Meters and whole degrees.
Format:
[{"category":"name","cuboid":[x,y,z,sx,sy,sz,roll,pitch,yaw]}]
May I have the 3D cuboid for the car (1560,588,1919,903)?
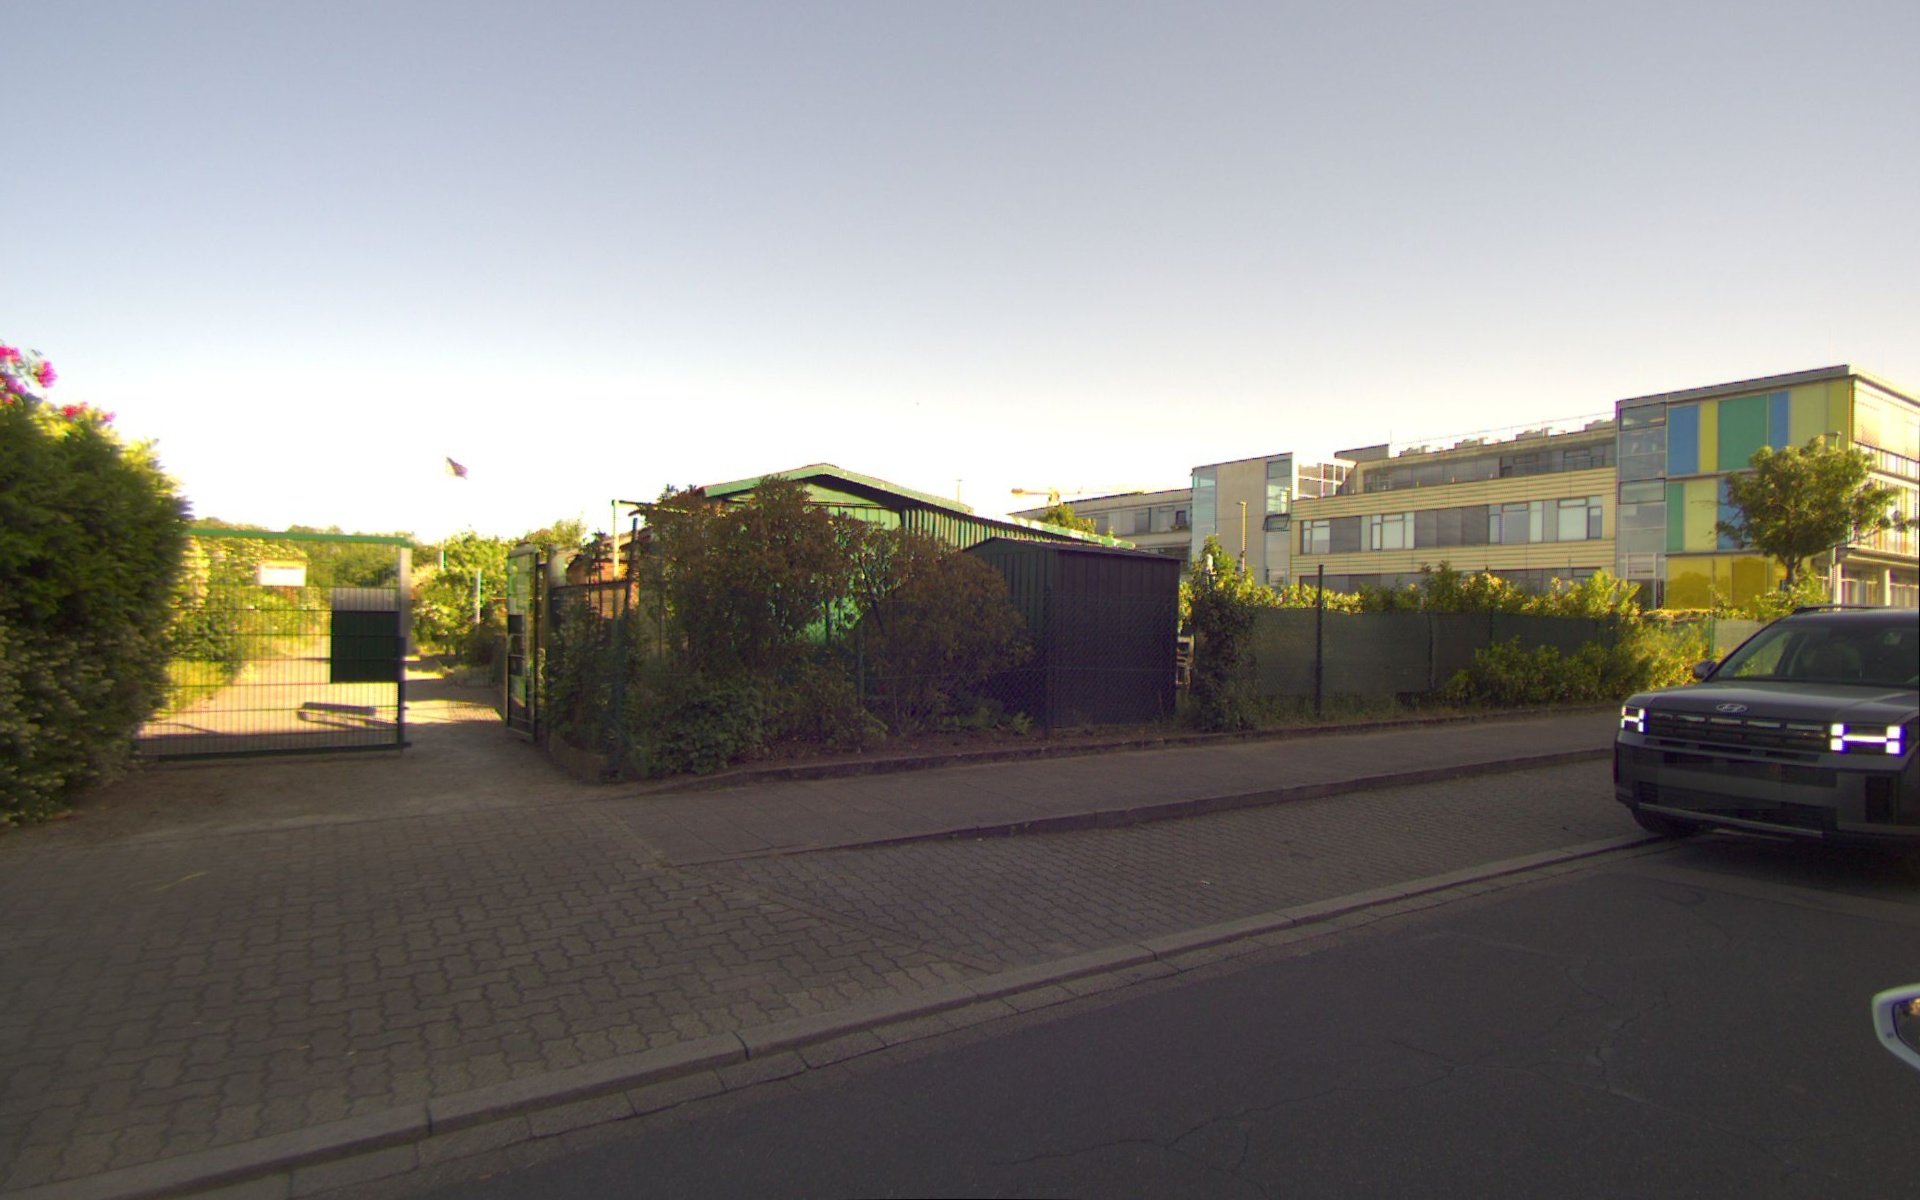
[{"category":"car","cuboid":[6.968,0.872,7.489,4.772,1.750,1.937,1,-2,-25]}]
